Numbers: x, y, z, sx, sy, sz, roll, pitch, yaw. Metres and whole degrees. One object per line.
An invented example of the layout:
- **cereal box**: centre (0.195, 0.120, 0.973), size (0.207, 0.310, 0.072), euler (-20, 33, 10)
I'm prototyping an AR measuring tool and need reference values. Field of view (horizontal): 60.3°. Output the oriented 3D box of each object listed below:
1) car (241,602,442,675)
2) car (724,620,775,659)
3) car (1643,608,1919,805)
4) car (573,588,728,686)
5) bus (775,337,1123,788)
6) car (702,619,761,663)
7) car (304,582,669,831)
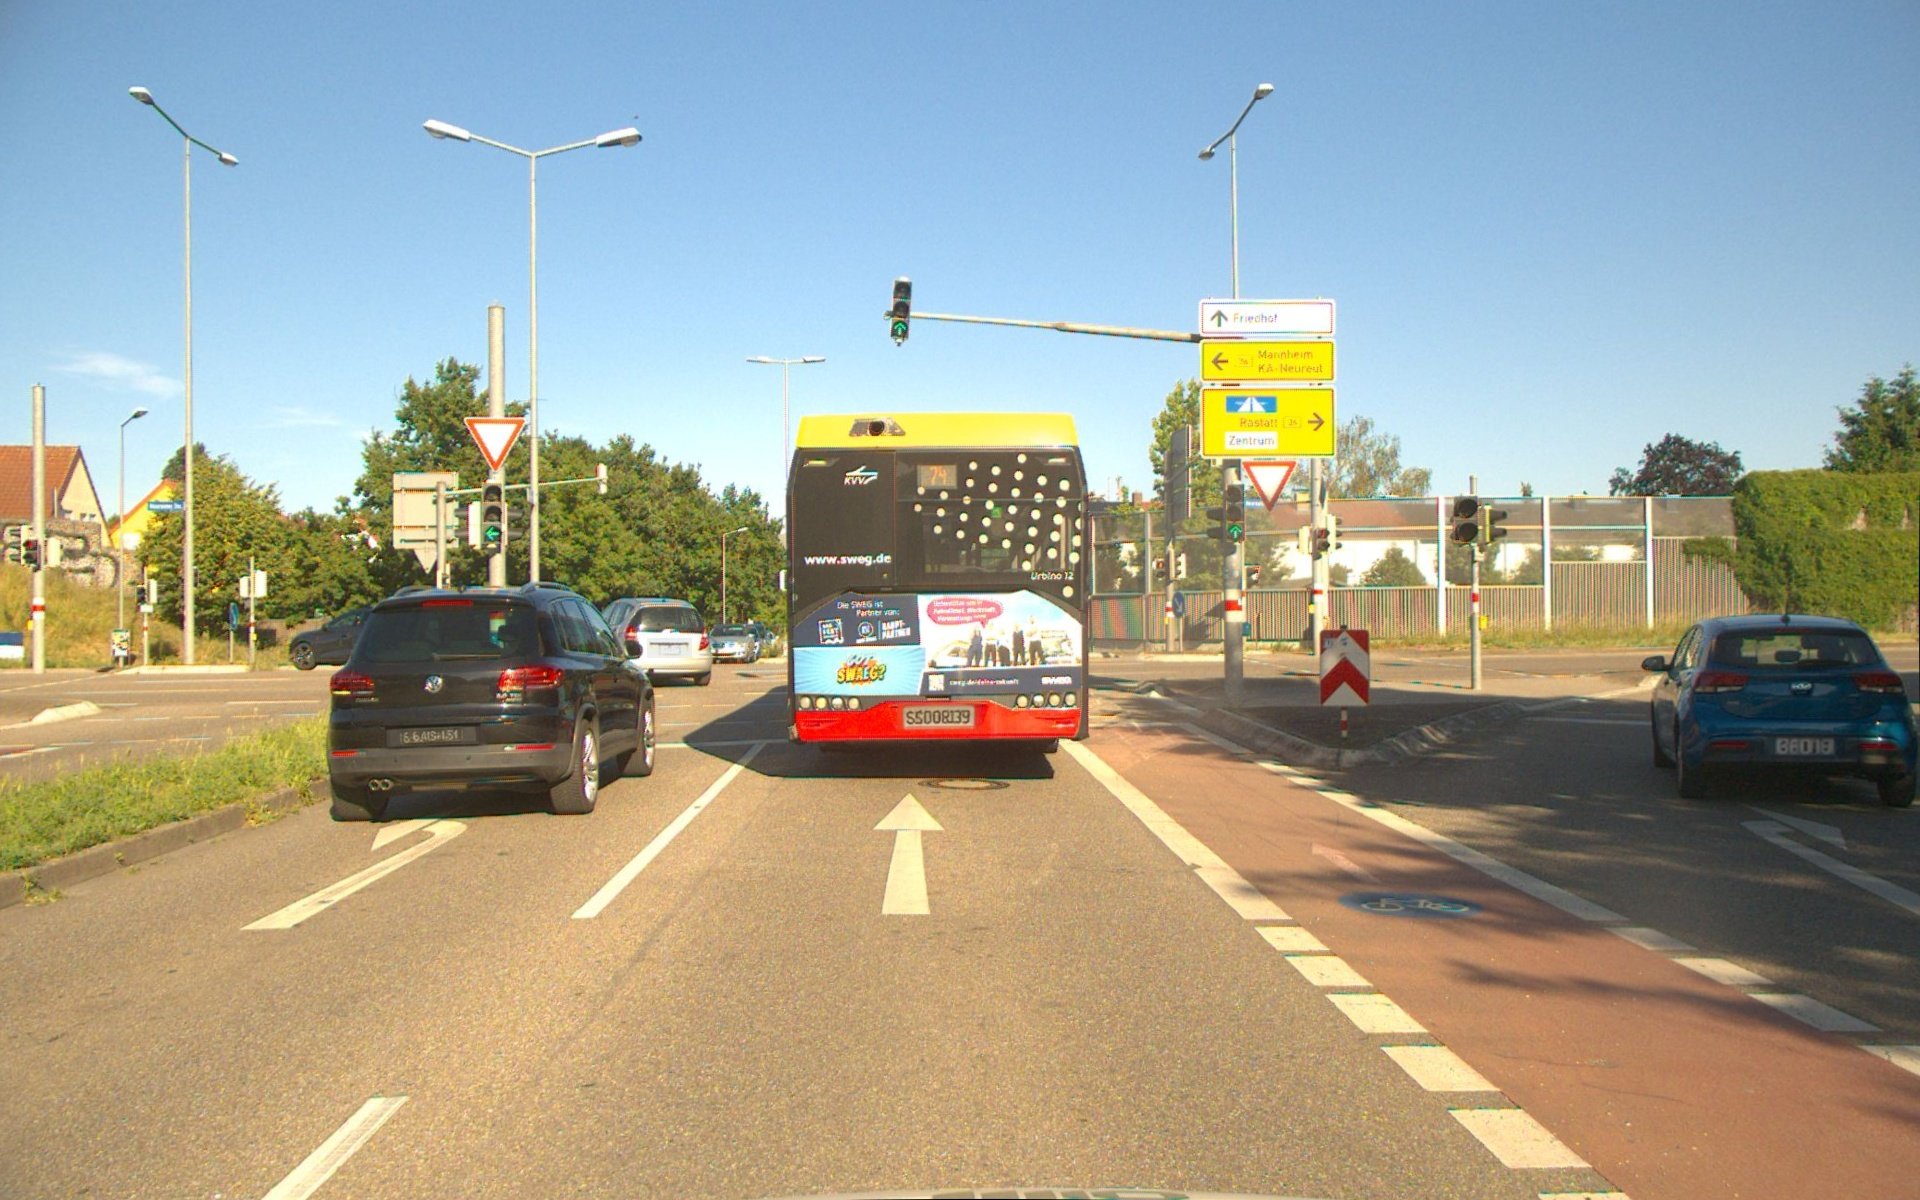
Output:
- **car**: centre (-14.779, 0.902, 39.523), size (4.315, 1.644, 2.047), euler (-1, 0, 24)
- **car**: centre (-9.346, 1.762, 73.874), size (1.954, 1.644, 4.526), euler (-1, -1, -4)
- **car**: centre (7.013, 0.806, 14.346), size (1.695, 1.466, 3.795), euler (0, 0, 18)
- **car**: centre (-5.966, 0.630, 31.458), size (2.014, 1.644, 4.386), euler (-1, 1, -23)
- **bus**: centre (-0.353, -0.278, 19.270), size (2.702, 3.519, 12.391), euler (1, 0, -3)
- **car**: centre (-8.450, 1.523, 61.445), size (1.757, 1.532, 4.527), euler (-1, -1, -3)
- **car**: centre (-3.517, 0.722, 13.070), size (1.790, 1.656, 3.999), euler (0, 0, -1)
